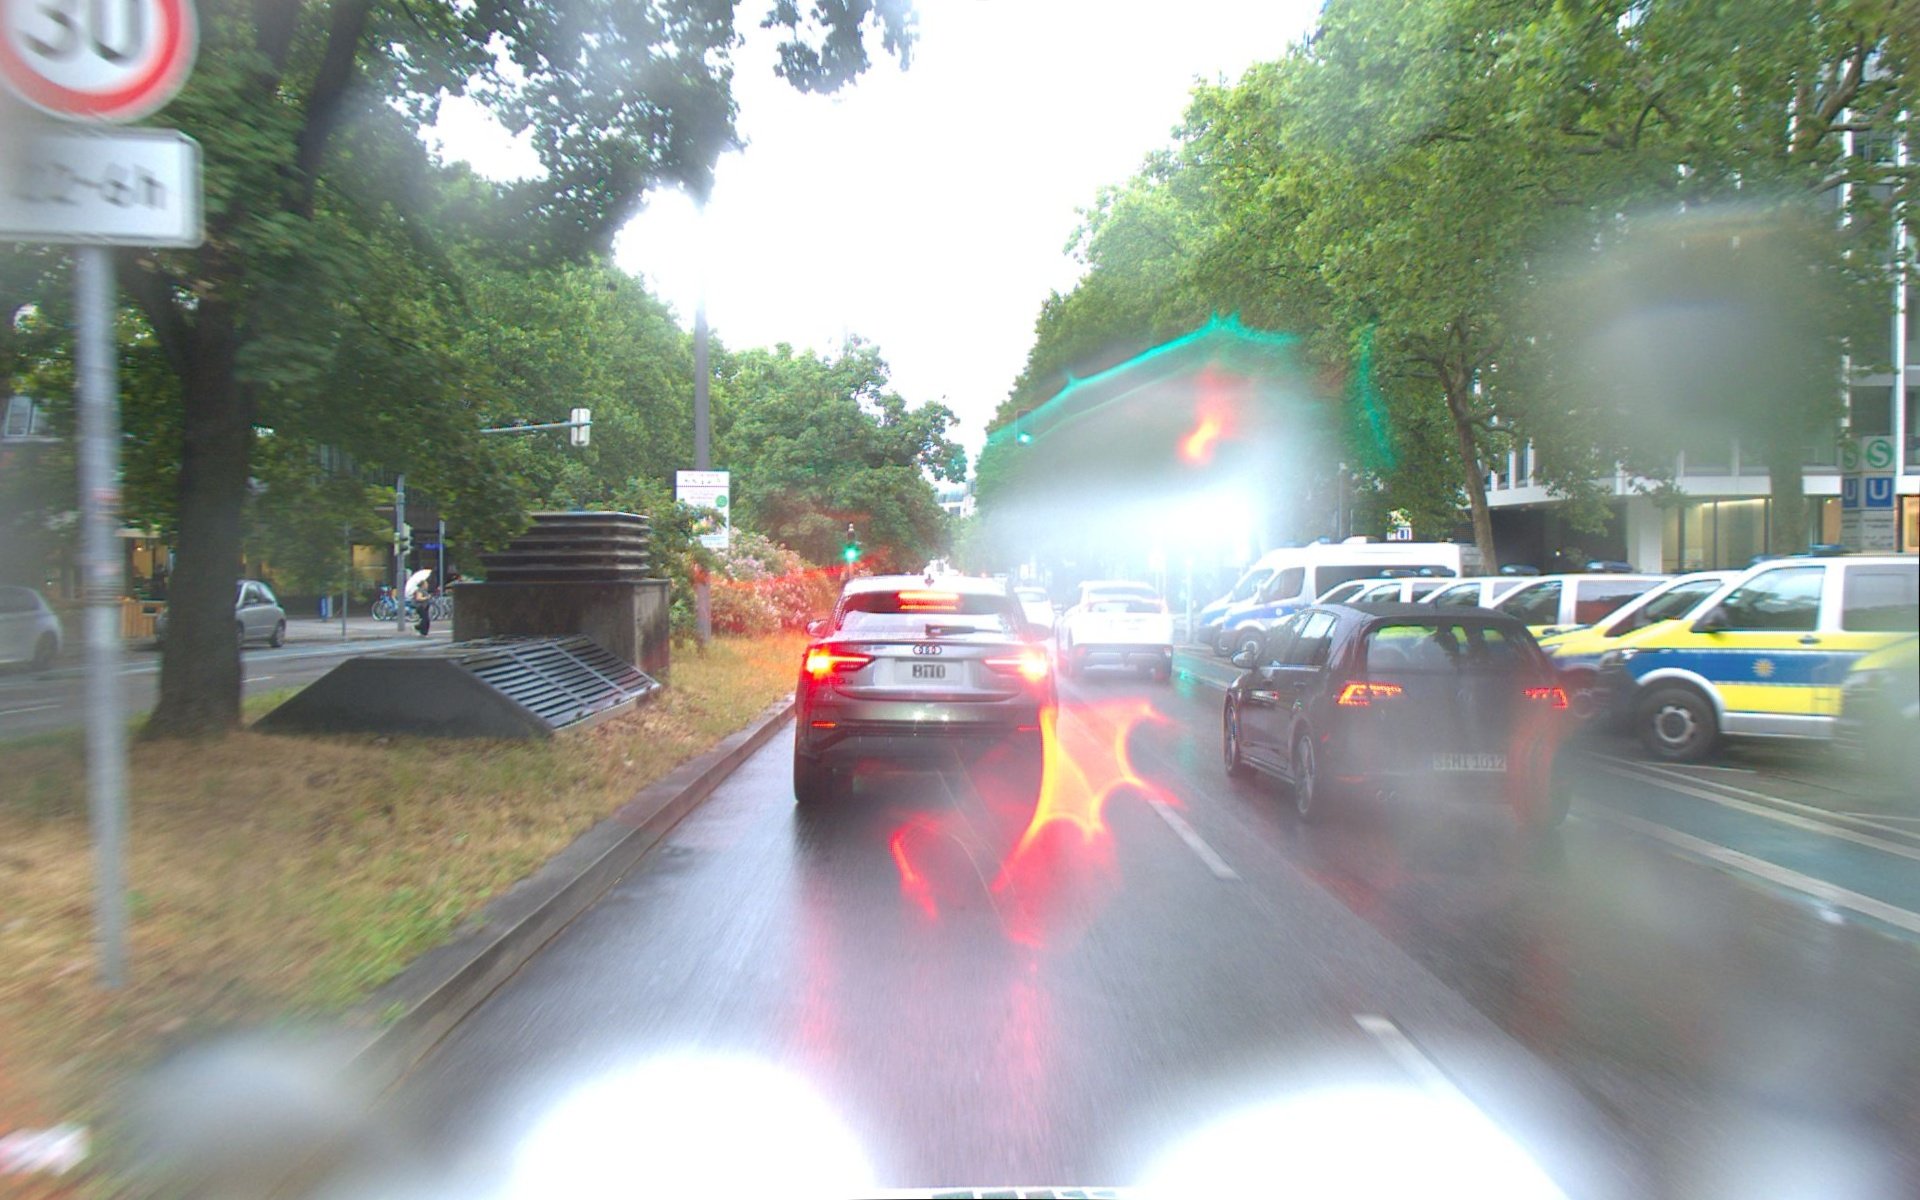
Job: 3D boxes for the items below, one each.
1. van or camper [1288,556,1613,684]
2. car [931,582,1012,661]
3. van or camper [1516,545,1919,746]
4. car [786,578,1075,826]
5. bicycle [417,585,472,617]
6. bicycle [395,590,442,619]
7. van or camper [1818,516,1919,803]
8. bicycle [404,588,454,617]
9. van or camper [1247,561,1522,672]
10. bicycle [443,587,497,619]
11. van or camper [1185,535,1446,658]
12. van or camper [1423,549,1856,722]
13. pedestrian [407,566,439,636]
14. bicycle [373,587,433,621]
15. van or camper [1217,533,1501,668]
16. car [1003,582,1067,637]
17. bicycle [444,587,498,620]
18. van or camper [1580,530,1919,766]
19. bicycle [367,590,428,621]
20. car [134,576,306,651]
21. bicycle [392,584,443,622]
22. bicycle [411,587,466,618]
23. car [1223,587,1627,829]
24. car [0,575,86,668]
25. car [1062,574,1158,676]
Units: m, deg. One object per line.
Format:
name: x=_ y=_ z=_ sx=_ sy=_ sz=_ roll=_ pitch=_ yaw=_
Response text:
van or camper: x=8.556 y=0.295 z=29.040 sx=5.102 sy=2.027 sz=1.994 roll=2 pitch=0 yaw=34
car: x=0.210 y=0.424 z=36.210 sx=1.686 sy=1.605 sz=3.961 roll=0 pitch=1 yaw=-1
van or camper: x=8.949 y=0.450 z=18.406 sx=4.917 sy=2.030 sz=1.995 roll=0 pitch=0 yaw=32
car: x=-0.161 y=0.621 z=12.771 sx=1.825 sy=1.559 sz=4.527 roll=0 pitch=1 yaw=1
bicycle: x=-18.549 y=0.040 z=59.535 sx=1.810 sy=1.156 sz=0.565 roll=0 pitch=0 yaw=-8
bicycle: x=-18.472 y=0.152 z=56.445 sx=1.435 sy=0.996 sz=0.565 roll=0 pitch=0 yaw=-9
van or camper: x=8.743 y=0.448 z=11.457 sx=4.758 sy=2.033 sz=1.861 roll=1 pitch=0 yaw=36
bicycle: x=-18.331 y=0.095 z=57.124 sx=1.587 sy=0.979 sz=0.508 roll=0 pitch=0 yaw=-8
van or camper: x=8.357 y=0.302 z=32.770 sx=4.915 sy=2.049 sz=1.993 roll=0 pitch=-1 yaw=35
bicycle: x=-18.066 y=0.118 z=61.009 sx=1.809 sy=1.169 sz=0.565 roll=0 pitch=1 yaw=-7
van or camper: x=8.381 y=-0.121 z=39.277 sx=5.702 sy=2.724 sz=2.138 roll=1 pitch=0 yaw=37
van or camper: x=8.987 y=0.387 z=22.104 sx=5.008 sy=2.060 sz=2.097 roll=1 pitch=1 yaw=37
pedestrian: x=-14.688 y=0.017 z=45.244 sx=0.711 sy=1.899 sz=0.840 roll=0 pitch=0 yaw=-9
bicycle: x=-18.517 y=0.136 z=55.046 sx=1.810 sy=1.117 sz=0.613 roll=0 pitch=0 yaw=-9
van or camper: x=8.587 y=-0.010 z=35.898 sx=5.694 sy=2.727 sz=1.993 roll=0 pitch=0 yaw=35
car: x=2.480 y=0.279 z=55.700 sx=1.953 sy=1.780 sz=4.000 roll=0 pitch=1 yaw=0
bicycle: x=-17.828 y=0.122 z=60.383 sx=1.809 sy=1.156 sz=0.565 roll=0 pitch=1 yaw=-7
van or camper: x=8.467 y=0.415 z=15.412 sx=4.698 sy=2.046 sz=1.993 roll=1 pitch=0 yaw=36
bicycle: x=-18.369 y=0.173 z=54.053 sx=1.808 sy=0.996 sz=0.565 roll=0 pitch=0 yaw=-4
car: x=-16.272 y=0.248 z=36.639 sx=1.954 sy=1.535 sz=4.516 roll=0 pitch=1 yaw=-3
bicycle: x=-18.262 y=0.092 z=55.697 sx=1.587 sy=1.263 sz=0.508 roll=0 pitch=0 yaw=-8
bicycle: x=-18.534 y=0.087 z=58.792 sx=1.787 sy=1.117 sz=0.565 roll=0 pitch=0 yaw=-8
car: x=3.145 y=0.639 z=12.040 sx=1.729 sy=1.437 sz=3.999 roll=0 pitch=1 yaw=-2
car: x=-15.994 y=0.319 z=26.116 sx=1.953 sy=1.393 sz=4.539 roll=3 pitch=1 yaw=-1
car: x=2.613 y=0.405 z=29.296 sx=1.404 sy=1.714 sz=2.979 roll=0 pitch=1 yaw=0
